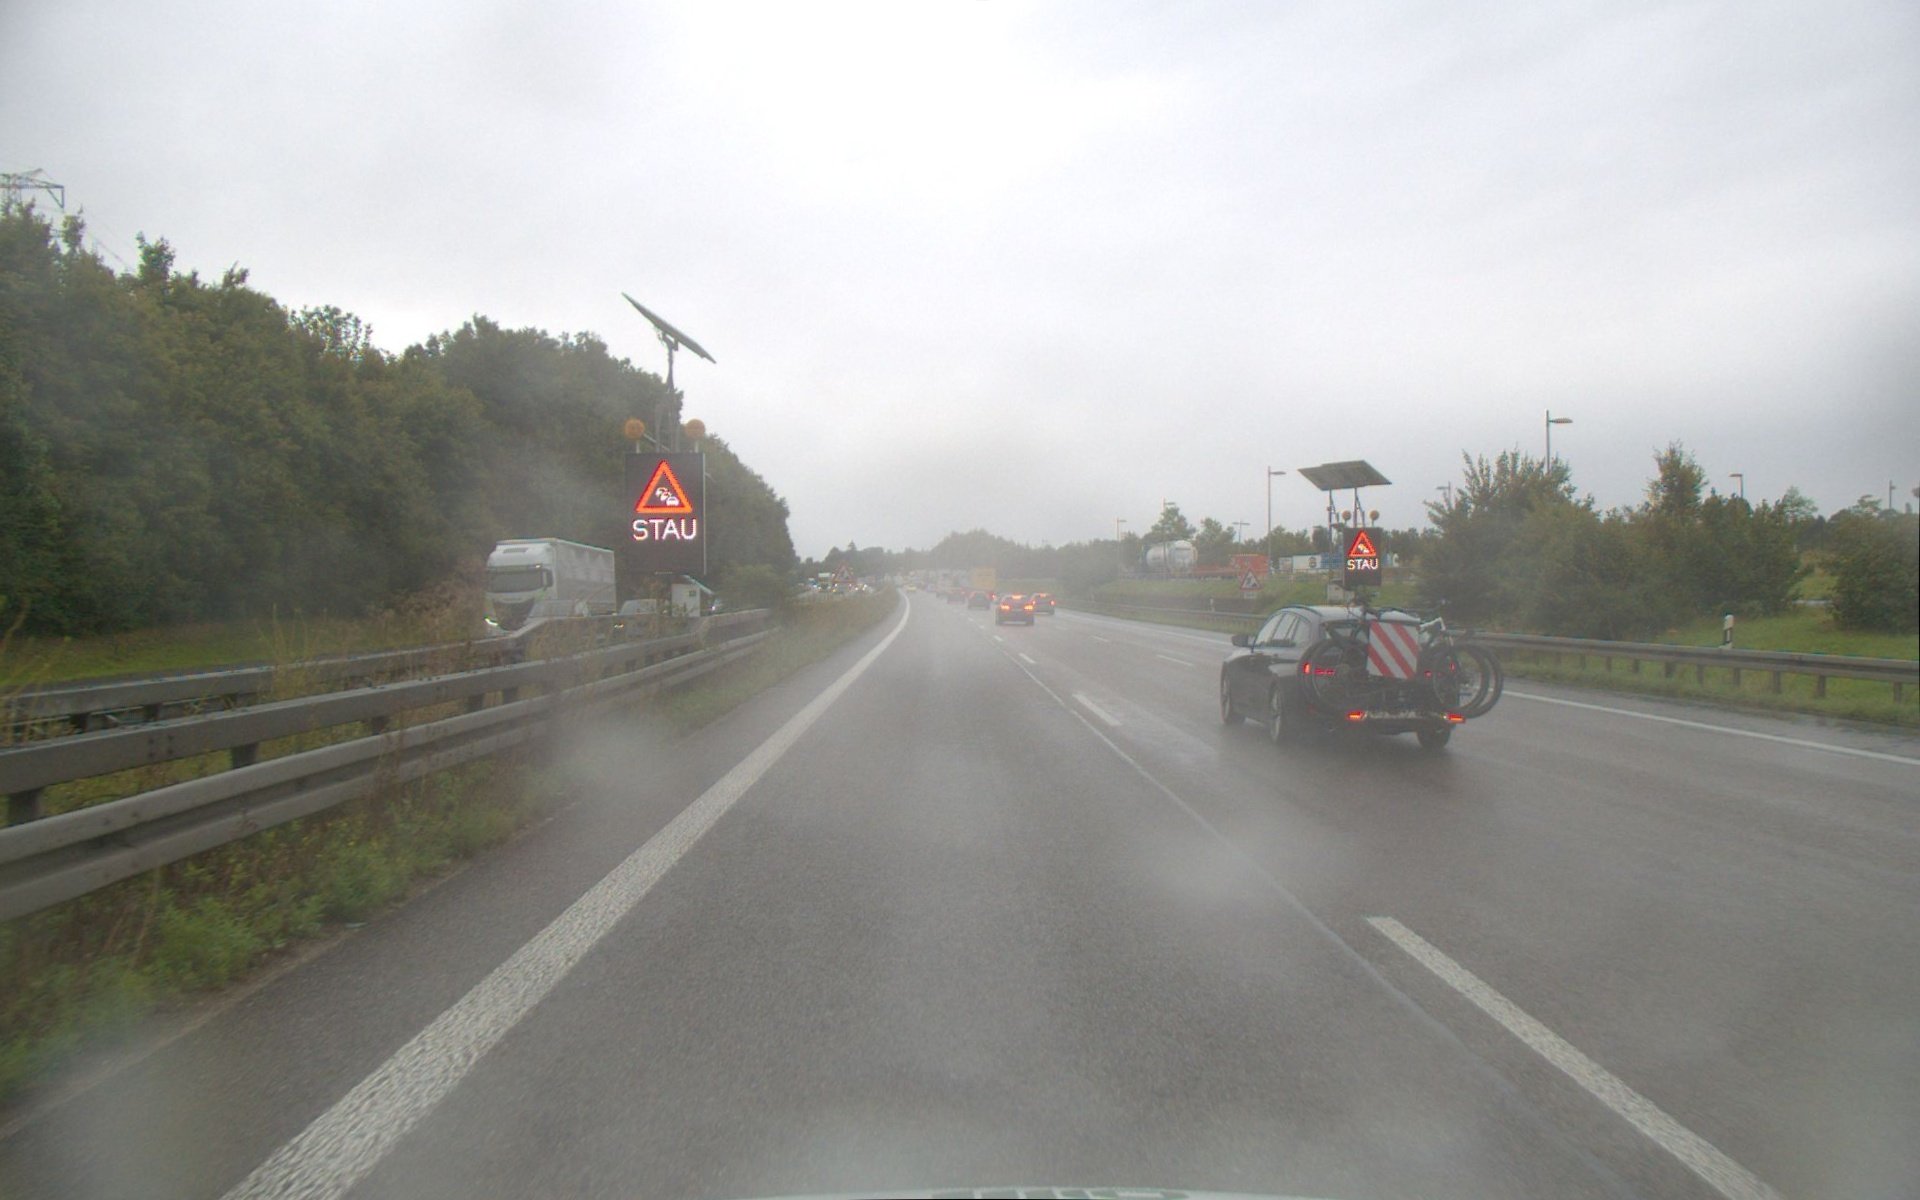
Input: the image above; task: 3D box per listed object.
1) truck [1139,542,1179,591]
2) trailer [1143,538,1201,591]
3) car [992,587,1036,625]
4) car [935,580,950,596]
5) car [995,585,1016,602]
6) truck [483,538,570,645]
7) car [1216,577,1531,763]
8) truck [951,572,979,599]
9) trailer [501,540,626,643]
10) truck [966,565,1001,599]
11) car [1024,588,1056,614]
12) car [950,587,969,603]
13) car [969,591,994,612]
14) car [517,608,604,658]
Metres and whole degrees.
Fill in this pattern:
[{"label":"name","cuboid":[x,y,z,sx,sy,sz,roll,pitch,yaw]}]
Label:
[{"label":"truck","cuboid":[17.905,-2.971,148.777,2.889,4.218,4.921,-1,0,-1]},{"label":"trailer","cuboid":[18.056,-2.958,141.538,2.925,4.229,12.953,-1,0,-1]},{"label":"car","cuboid":[2.652,0.286,81.778,1.953,1.791,3.999,-1,0,-1]},{"label":"car","cuboid":[-2.458,-1.739,233.789,1.953,2.243,3.999,-1,0,-1]},{"label":"car","cuboid":[4.629,-0.622,168.090,1.953,1.657,3.999,-1,0,-1]},{"label":"truck","cuboid":[-18.062,-0.360,69.104,2.590,4.311,3.999,-1,0,-1]},{"label":"car","cuboid":[4.259,0.682,18.067,2.016,1.701,5.521,1,-1,0]},{"label":"truck","cuboid":[0.701,-2.188,252.090,3.845,4.051,12.236,-1,0,-1]},{"label":"trailer","cuboid":[-18.154,-0.424,76.898,2.590,4.311,13.908,-1,0,-1]},{"label":"truck","cuboid":[2.875,-2.228,207.801,3.845,4.051,12.236,-1,0,-1]},{"label":"car","cuboid":[5.608,0.072,115.874,1.953,1.791,3.999,-1,0,-1]},{"label":"car","cuboid":[-0.040,-0.575,179.038,1.953,1.657,3.999,-1,0,-1]},{"label":"car","cuboid":[1.761,0.100,138.649,1.953,1.657,3.999,-1,0,-1]},{"label":"car","cuboid":[-13.367,1.085,55.646,1.836,1.519,4.513,-2,0,-1]}]
